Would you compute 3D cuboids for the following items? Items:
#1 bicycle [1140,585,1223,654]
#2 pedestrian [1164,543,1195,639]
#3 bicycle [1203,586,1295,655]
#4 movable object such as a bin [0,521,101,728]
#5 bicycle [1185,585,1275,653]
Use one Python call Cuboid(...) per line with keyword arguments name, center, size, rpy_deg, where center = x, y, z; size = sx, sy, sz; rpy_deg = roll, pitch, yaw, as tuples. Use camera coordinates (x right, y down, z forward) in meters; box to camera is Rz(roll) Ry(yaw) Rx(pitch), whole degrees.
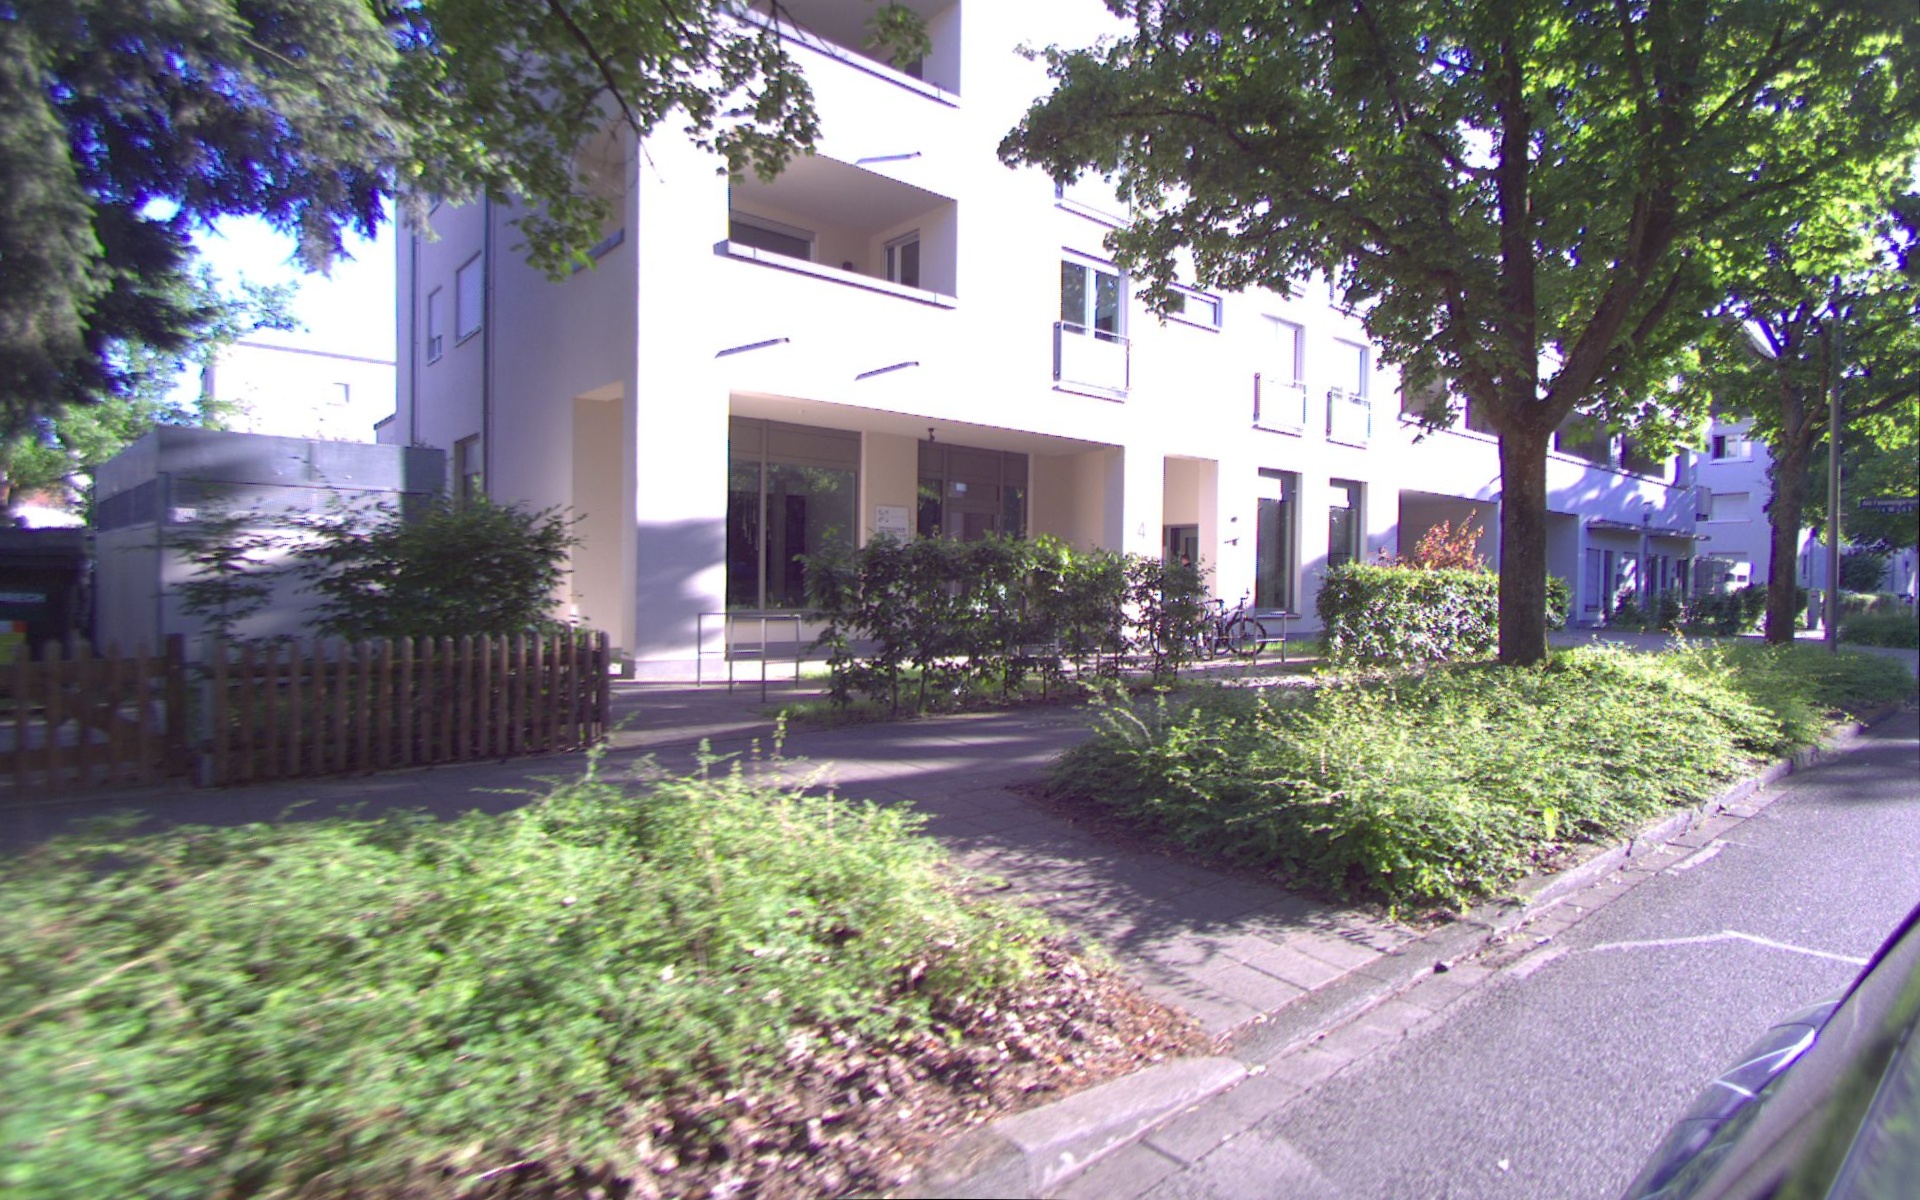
Cuboid(name="bicycle", center=(3.825, 0.304, 17.381), size=(1.756, 1.125, 0.419), rpy_deg=(-1, 1, -41))
Cuboid(name="pedestrian", center=(4.397, -0.183, 20.310), size=(0.476, 1.897, 0.378), rpy_deg=(0, 0, -29))
Cuboid(name="bicycle", center=(4.884, 0.321, 17.024), size=(2.076, 1.101, 0.419), rpy_deg=(-1, 1, -41))
Cuboid(name="movable object such as a bin", center=(-7.166, 0.146, 7.389), size=(1.343, 1.444, 1.081), rpy_deg=(-1, 3, -42))
Cuboid(name="bicycle", center=(4.684, 0.298, 17.478), size=(2.076, 1.101, 0.419), rpy_deg=(-1, 1, -41))
